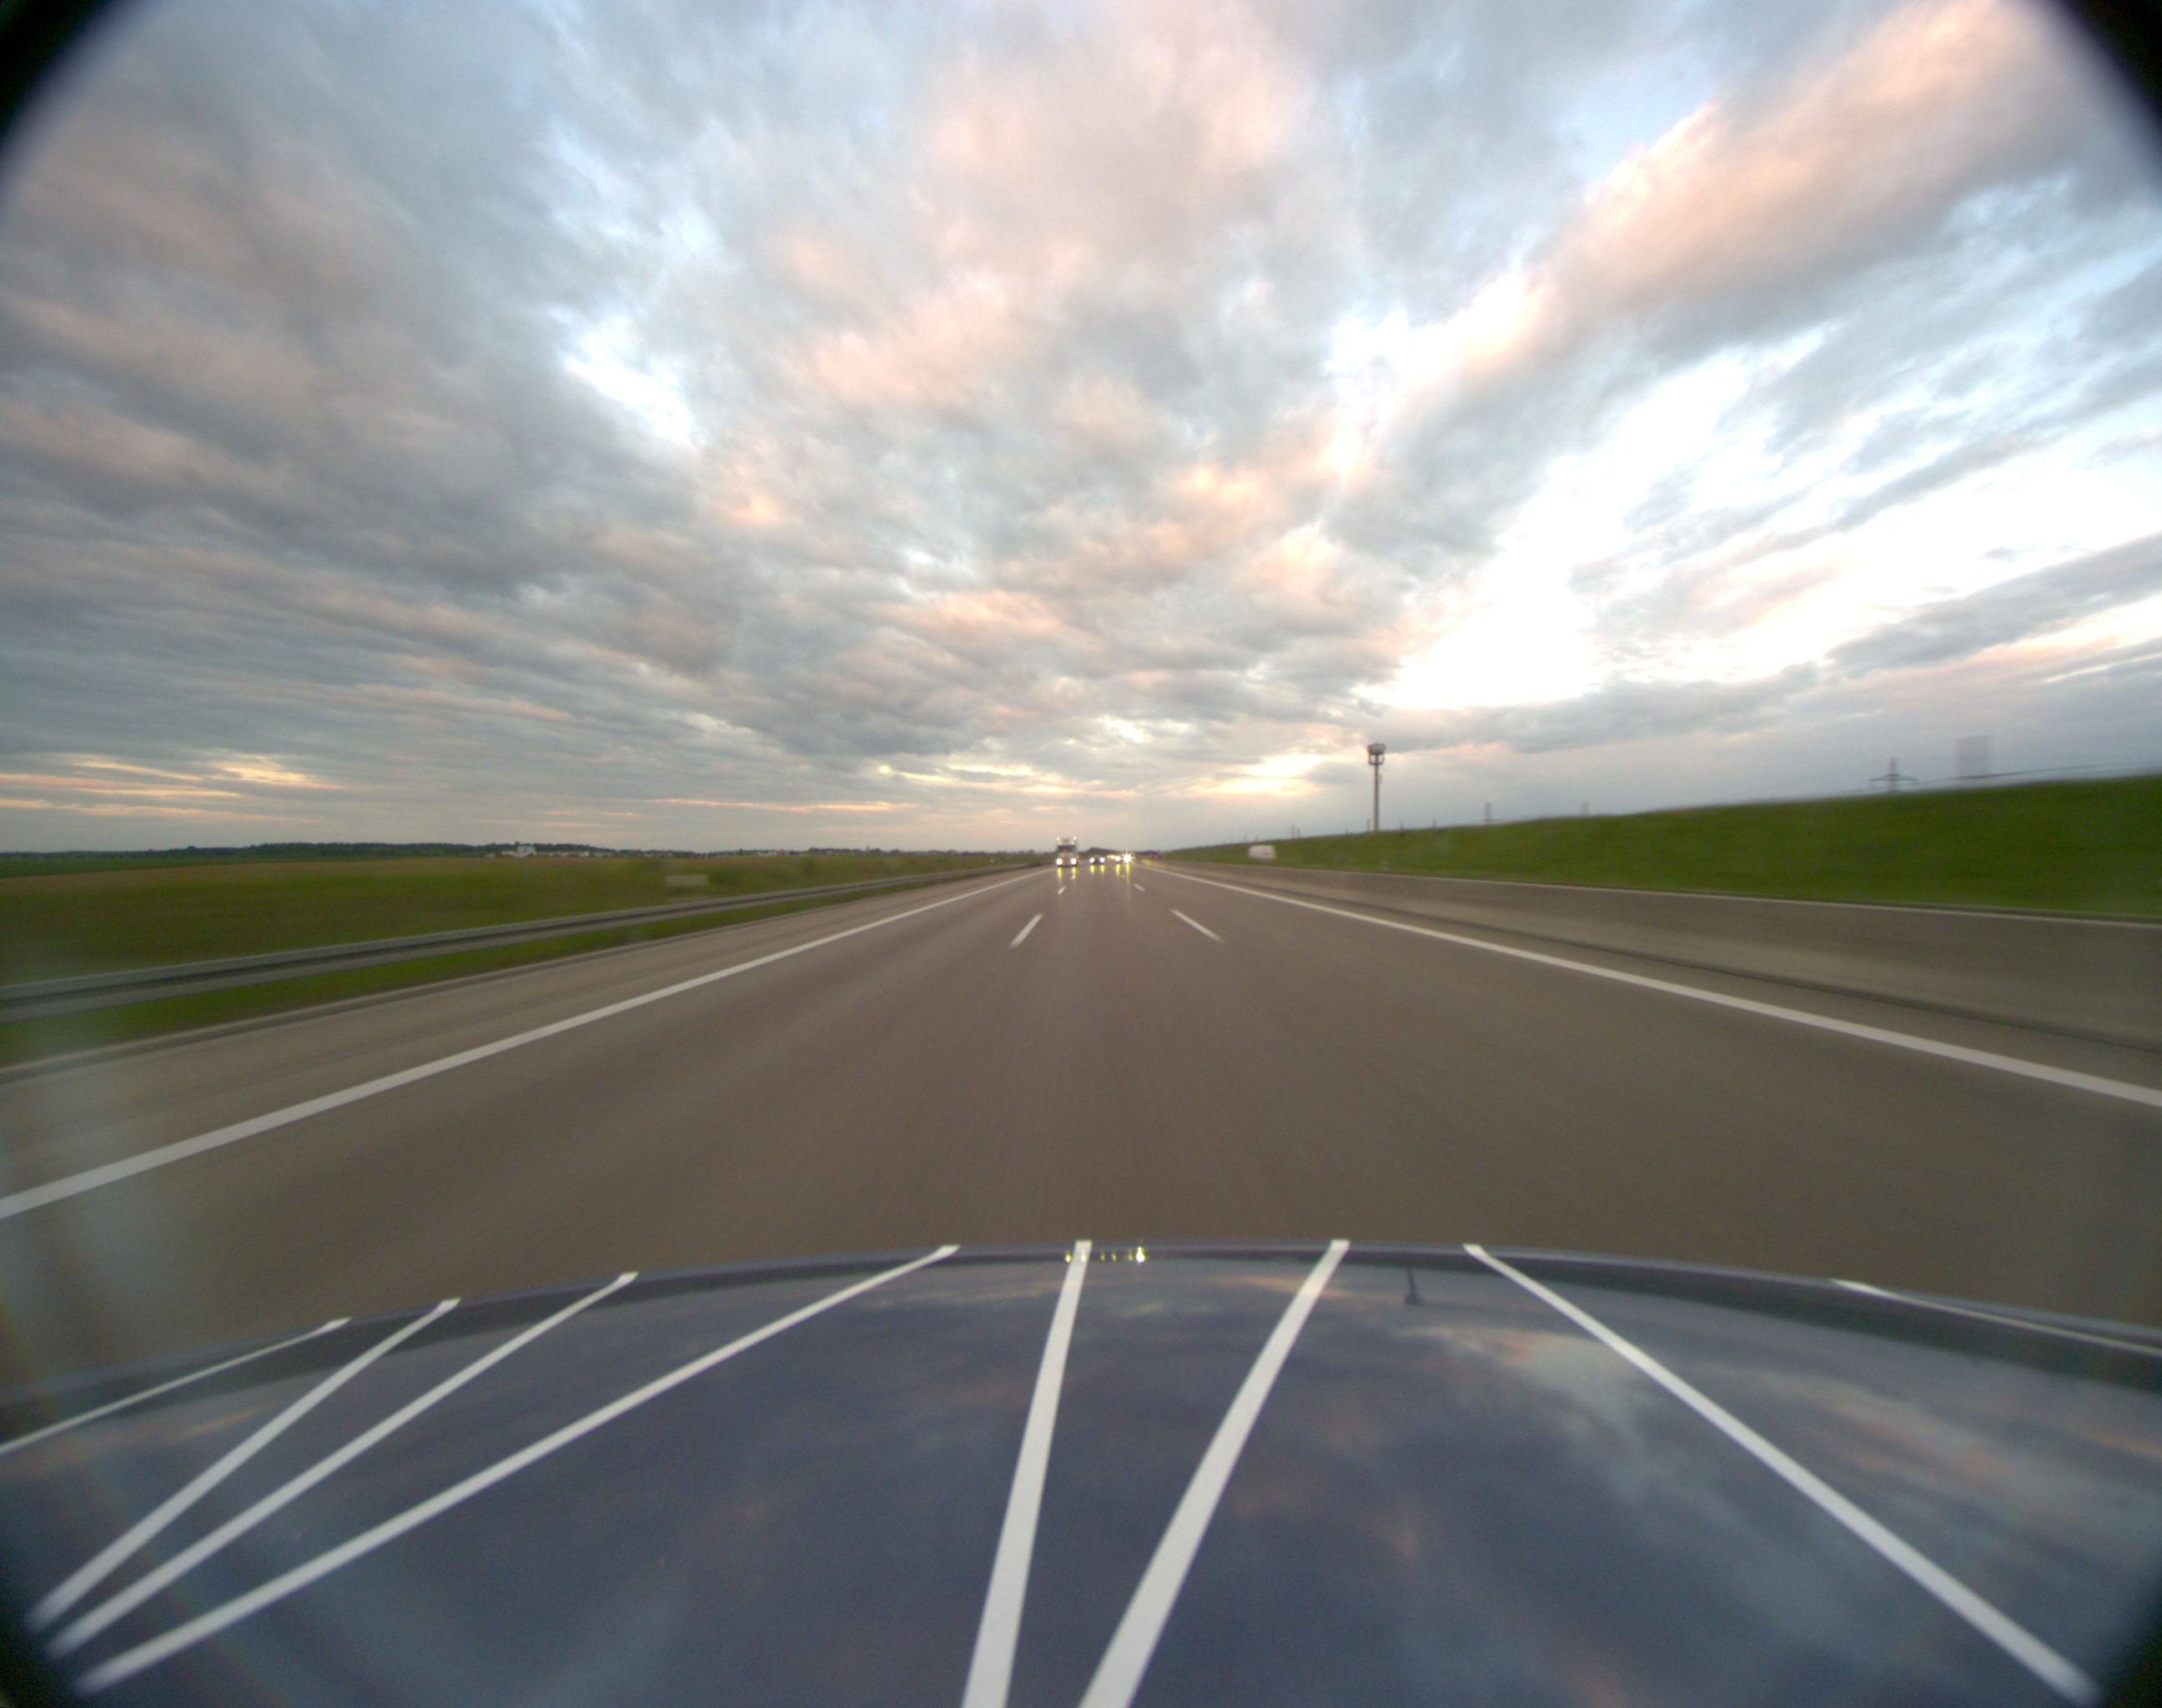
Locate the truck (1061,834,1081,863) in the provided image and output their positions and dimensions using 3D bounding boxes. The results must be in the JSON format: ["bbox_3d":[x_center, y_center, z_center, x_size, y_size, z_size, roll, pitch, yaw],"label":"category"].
[{"bbox_3d":[-1.427,-0.800,113.197,2.597,3.999,12.985,-1,0,1],"label":"truck"}]

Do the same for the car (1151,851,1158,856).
[{"bbox_3d":[23.330,-0.011,241.009,1.857,1.583,4.106,0,0,2],"label":"car"}]

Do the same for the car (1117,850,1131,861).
[{"bbox_3d":[6.965,0.262,123.662,1.998,1.652,4.000,-3,1,2],"label":"car"}]

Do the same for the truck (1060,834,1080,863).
[{"bbox_3d":[-1.533,-0.741,106.637,2.597,3.999,5.859,-1,0,1],"label":"truck"}]

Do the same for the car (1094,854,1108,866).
[{"bbox_3d":[2.960,0.904,113.387,1.998,1.652,4.851,-3,1,2],"label":"car"}]

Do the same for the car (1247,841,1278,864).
[{"bbox_3d":[21.362,-0.166,89.954,1.998,2.532,7.377,0,0,1],"label":"car"}]
